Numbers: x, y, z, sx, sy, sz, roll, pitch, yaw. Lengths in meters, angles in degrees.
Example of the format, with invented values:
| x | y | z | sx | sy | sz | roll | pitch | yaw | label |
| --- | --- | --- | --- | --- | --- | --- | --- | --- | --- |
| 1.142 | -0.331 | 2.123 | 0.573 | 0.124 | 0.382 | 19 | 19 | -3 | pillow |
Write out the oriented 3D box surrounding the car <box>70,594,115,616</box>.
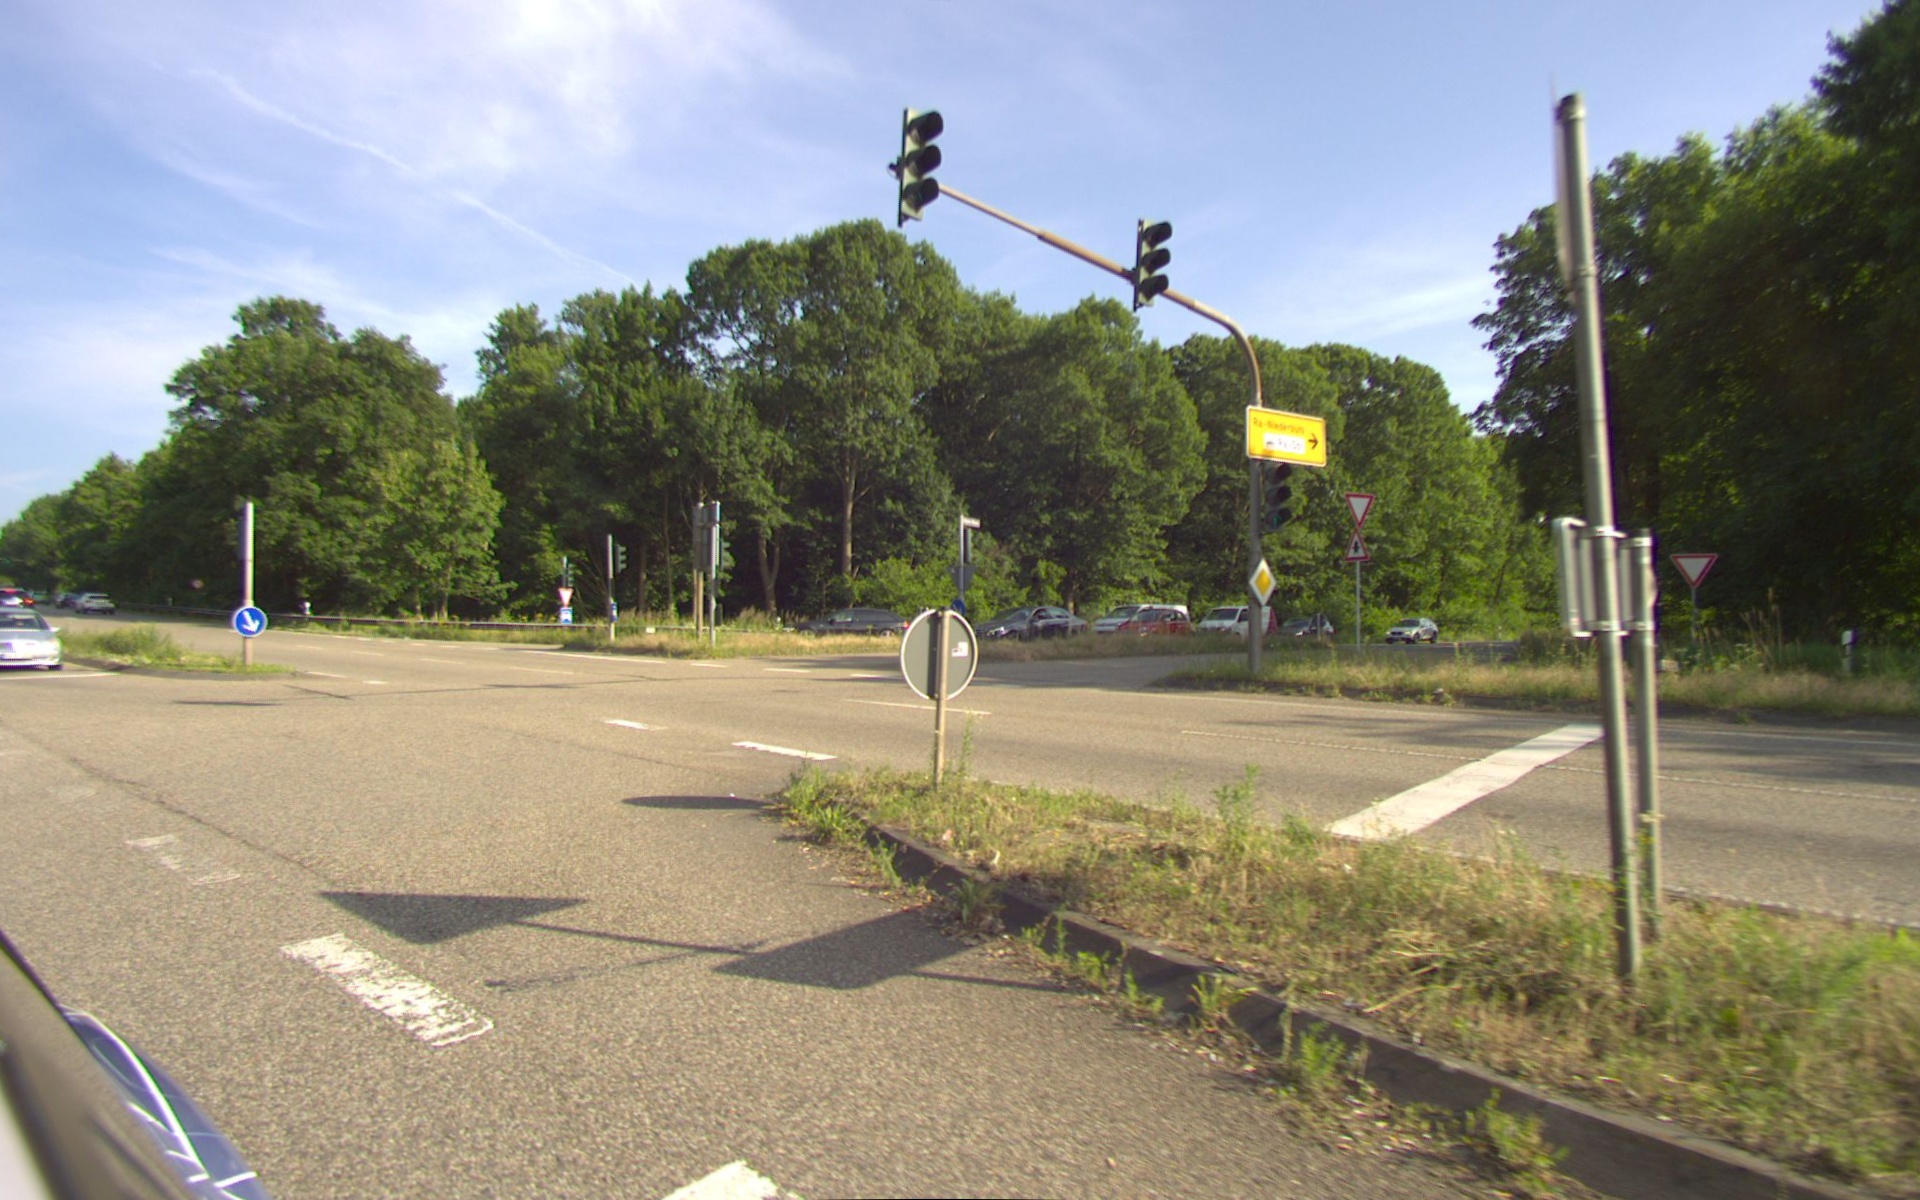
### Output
| x | y | z | sx | sy | sz | roll | pitch | yaw | label |
| --- | --- | --- | --- | --- | --- | --- | --- | --- | --- |
| -63.311 | 0.400 | 73.817 | 4.262 | 1.515 | 1.864 | 0 | -2 | 41 | car |

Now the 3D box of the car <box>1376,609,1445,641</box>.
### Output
| x | y | z | sx | sy | sz | roll | pitch | yaw | label |
| --- | --- | --- | --- | --- | --- | --- | --- | --- | --- |
| 27.209 | 1.446 | 61.052 | 4.581 | 1.740 | 2.137 | -1 | 1 | -41 | car |

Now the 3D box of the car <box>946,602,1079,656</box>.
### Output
| x | y | z | sx | sy | sz | roll | pitch | yaw | label |
| --- | --- | --- | --- | --- | --- | --- | --- | --- | --- |
| 1.712 | 0.847 | 31.686 | 1.998 | 1.501 | 4.365 | 0 | 1 | 38 | car |

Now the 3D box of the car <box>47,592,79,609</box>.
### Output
| x | y | z | sx | sy | sz | roll | pitch | yaw | label |
| --- | --- | --- | --- | --- | --- | --- | --- | --- | --- |
| -81.444 | 0.048 | 91.893 | 3.975 | 1.515 | 1.698 | 0 | -2 | 42 | car |

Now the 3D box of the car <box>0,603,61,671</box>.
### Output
| x | y | z | sx | sy | sz | roll | pitch | yaw | label |
| --- | --- | --- | --- | --- | --- | --- | --- | --- | --- |
| -22.083 | 0.781 | 23.102 | 4.799 | 1.432 | 1.717 | 0 | -2 | 41 | car |

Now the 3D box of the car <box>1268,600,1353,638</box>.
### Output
| x | y | z | sx | sy | sz | roll | pitch | yaw | label |
| --- | --- | --- | --- | --- | --- | --- | --- | --- | --- |
| 17.934 | 0.932 | 51.648 | 4.581 | 1.740 | 2.137 | -1 | 1 | -41 | car |

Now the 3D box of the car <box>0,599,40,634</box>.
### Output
| x | y | z | sx | sy | sz | roll | pitch | yaw | label |
| --- | --- | --- | --- | --- | --- | --- | --- | --- | --- |
| -51.402 | 0.865 | 54.549 | 4.753 | 1.777 | 2.055 | 0 | -2 | 40 | car |

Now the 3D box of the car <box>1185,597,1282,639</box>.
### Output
| x | y | z | sx | sy | sz | roll | pitch | yaw | label |
| --- | --- | --- | --- | --- | --- | --- | --- | --- | --- |
| 12.699 | 0.787 | 46.838 | 4.581 | 1.740 | 2.195 | -1 | 1 | -41 | car |

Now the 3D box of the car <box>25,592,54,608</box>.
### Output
| x | y | z | sx | sy | sz | roll | pitch | yaw | label |
| --- | --- | --- | --- | --- | --- | --- | --- | --- | --- |
| -95.157 | -0.001 | 104.605 | 3.975 | 1.515 | 1.698 | 0 | -2 | 42 | car |

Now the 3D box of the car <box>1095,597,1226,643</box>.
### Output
| x | y | z | sx | sy | sz | roll | pitch | yaw | label |
| --- | --- | --- | --- | --- | --- | --- | --- | --- | --- |
| 7.370 | 0.668 | 36.931 | 4.913 | 1.501 | 2.211 | -1 | 1 | -42 | car |

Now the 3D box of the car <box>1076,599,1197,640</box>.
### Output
| x | y | z | sx | sy | sz | roll | pitch | yaw | label |
| --- | --- | --- | --- | --- | --- | --- | --- | --- | --- |
| 7.438 | 0.763 | 42.403 | 4.992 | 1.501 | 2.450 | -1 | 1 | -41 | car |

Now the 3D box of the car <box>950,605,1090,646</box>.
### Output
| x | y | z | sx | sy | sz | roll | pitch | yaw | label |
| --- | --- | --- | --- | --- | --- | --- | --- | --- | --- |
| 2.355 | 0.940 | 39.089 | 5.116 | 1.353 | 2.059 | -1 | 1 | -30 | car |

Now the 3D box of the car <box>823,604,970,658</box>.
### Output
| x | y | z | sx | sy | sz | roll | pitch | yaw | label |
| --- | --- | --- | --- | --- | --- | --- | --- | --- | --- |
| -1.964 | 0.934 | 32.134 | 4.353 | 1.501 | 2.003 | -1 | 1 | -41 | car |

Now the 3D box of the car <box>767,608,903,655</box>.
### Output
| x | y | z | sx | sy | sz | roll | pitch | yaw | label |
| --- | --- | --- | --- | --- | --- | --- | --- | --- | --- |
| -4.475 | 1.088 | 36.056 | 4.483 | 1.501 | 2.006 | -1 | 1 | -19 | car |
